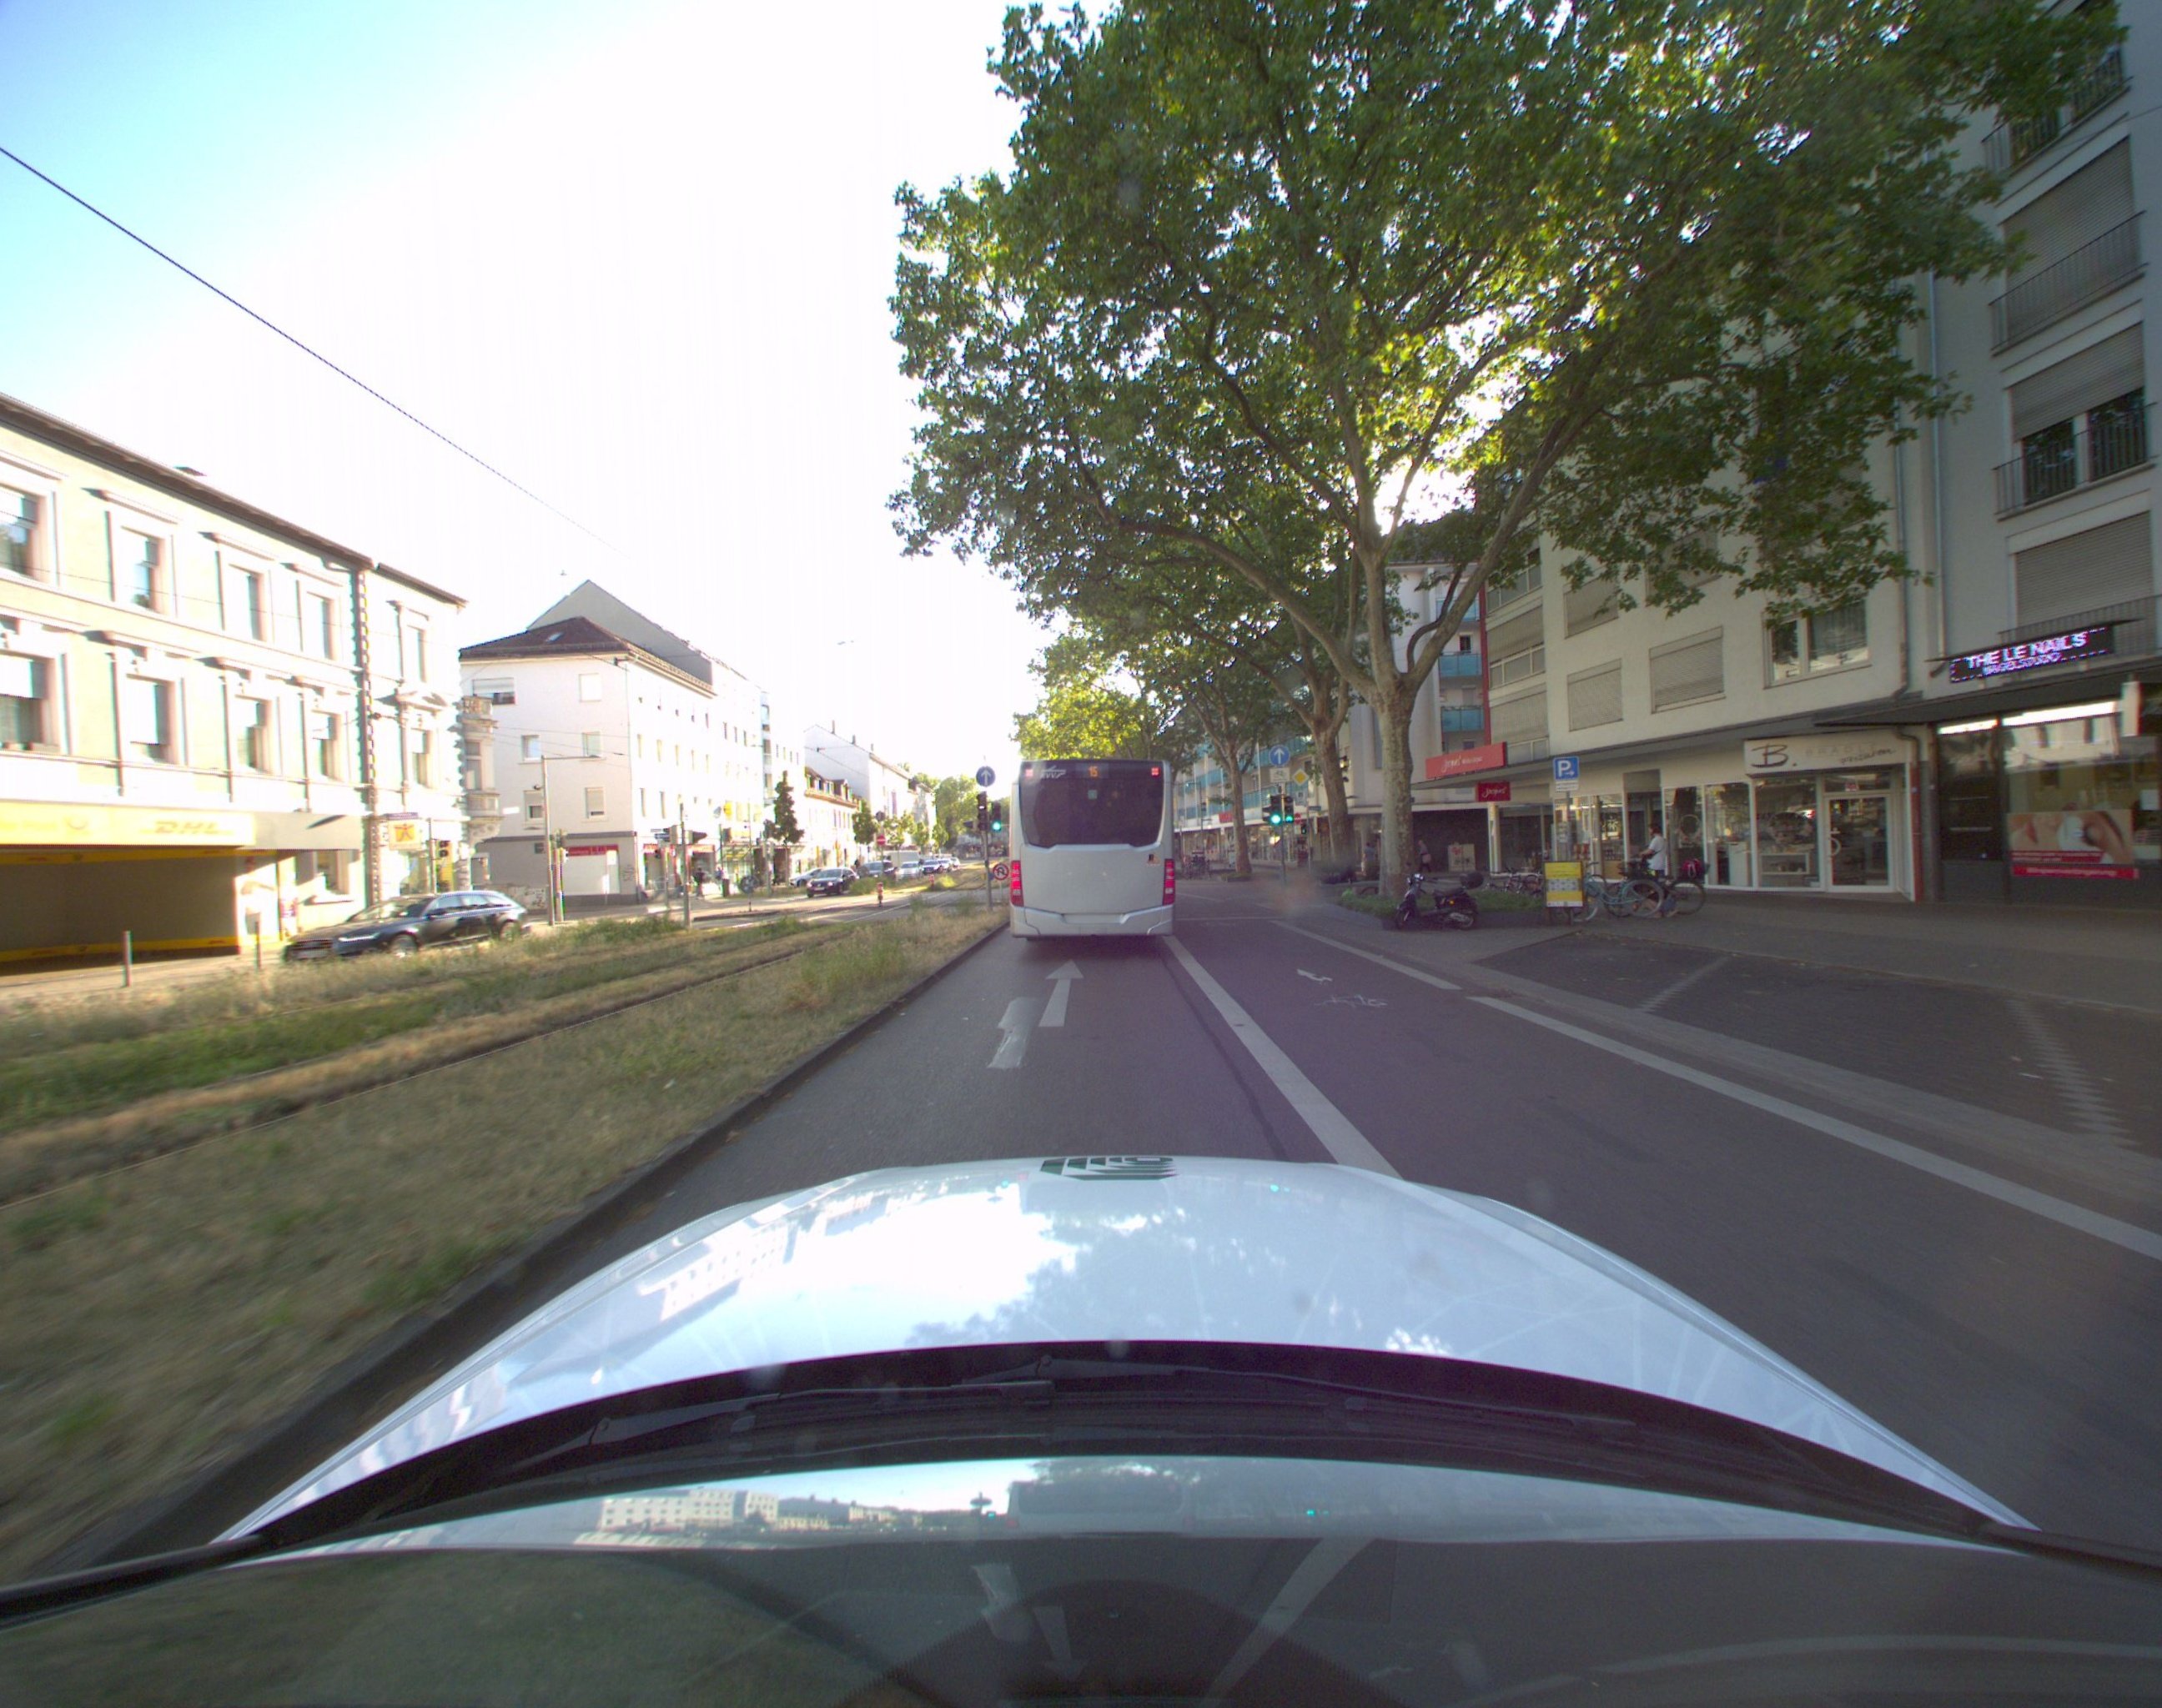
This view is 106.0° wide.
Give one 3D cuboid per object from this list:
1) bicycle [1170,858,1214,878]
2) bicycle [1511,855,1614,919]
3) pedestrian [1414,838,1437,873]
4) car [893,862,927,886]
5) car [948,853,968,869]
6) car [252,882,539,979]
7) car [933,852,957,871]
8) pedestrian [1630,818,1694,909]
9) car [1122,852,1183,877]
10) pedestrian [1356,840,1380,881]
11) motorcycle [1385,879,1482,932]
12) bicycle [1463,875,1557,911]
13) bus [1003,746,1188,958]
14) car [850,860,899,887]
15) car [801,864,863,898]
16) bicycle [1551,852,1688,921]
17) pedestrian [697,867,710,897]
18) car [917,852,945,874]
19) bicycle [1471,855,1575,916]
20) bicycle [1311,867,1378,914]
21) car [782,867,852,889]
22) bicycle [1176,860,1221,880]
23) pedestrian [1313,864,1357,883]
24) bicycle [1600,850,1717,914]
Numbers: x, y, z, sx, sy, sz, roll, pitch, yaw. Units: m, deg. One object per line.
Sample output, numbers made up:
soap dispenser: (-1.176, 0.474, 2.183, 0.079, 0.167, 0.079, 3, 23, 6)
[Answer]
bicycle: (6.290, 0.775, 46.072, 2.308, 1.028, 0.835, -2, 1, -7)
bicycle: (10.351, 0.703, 17.536, 1.784, 1.189, 0.670, -5, -1, -7)
pedestrian: (17.177, 0.054, 40.633, 0.746, 1.679, 0.834, -2, 2, -5)
car: (-13.678, 1.558, 65.398, 1.892, 1.804, 3.998, -2, 0, -1)
car: (-15.801, 0.904, 105.053, 1.988, 2.013, 3.998, -2, 0, -1)
car: (-14.287, 1.499, 17.474, 1.986, 1.559, 4.776, -2, 0, 1)
car: (-15.124, 0.801, 90.825, 1.988, 2.013, 3.998, -2, 0, -1)
pedestrian: (12.371, 0.197, 17.349, 0.643, 1.876, 0.821, -2, -1, -12)
car: (4.871, 0.709, 55.011, 1.975, 1.530, 4.024, -3, 0, 44)
pedestrian: (12.769, 0.281, 36.239, 0.777, 1.794, 0.764, -2, -1, 1)
motorcycle: (6.662, 0.962, 15.428, 1.566, 0.892, 0.544, -3, -1, -2)
bicycle: (10.263, 0.932, 19.536, 1.865, 0.765, 0.713, -2, 0, 9)
bus: (0.369, -0.035, 15.583, 2.667, 3.083, 7.118, -1, 0, 2)
car: (-13.339, 1.238, 52.935, 1.773, 1.615, 4.512, -2, 0, 3)
car: (-13.150, 1.418, 43.276, 1.773, 1.450, 4.048, -4, 1, 3)
bicycle: (10.624, 0.636, 16.140, 2.070, 1.233, 0.833, -3, -1, 6)
pedestrian: (-21.543, 1.588, 46.517, 0.424, 1.713, 0.509, -2, -1, 5)
car: (-14.512, 0.873, 79.198, 1.988, 2.013, 3.998, -2, 0, -1)
bicycle: (10.051, 0.713, 18.559, 1.865, 1.189, 0.713, -5, -1, 9)
bicycle: (6.531, 0.904, 20.198, 1.503, 1.105, 0.460, 1, 0, 1)
car: (-19.494, 1.745, 60.206, 4.571, 1.412, 1.978, -2, 0, -35)
bicycle: (6.488, 0.866, 44.861, 2.308, 0.939, 0.835, -2, 1, -7)
pedestrian: (8.202, 0.628, 26.295, 1.250, 0.589, 0.482, -1, 0, -1)
bicycle: (11.621, 0.552, 16.437, 1.753, 1.154, 0.680, -4, -1, 10)
